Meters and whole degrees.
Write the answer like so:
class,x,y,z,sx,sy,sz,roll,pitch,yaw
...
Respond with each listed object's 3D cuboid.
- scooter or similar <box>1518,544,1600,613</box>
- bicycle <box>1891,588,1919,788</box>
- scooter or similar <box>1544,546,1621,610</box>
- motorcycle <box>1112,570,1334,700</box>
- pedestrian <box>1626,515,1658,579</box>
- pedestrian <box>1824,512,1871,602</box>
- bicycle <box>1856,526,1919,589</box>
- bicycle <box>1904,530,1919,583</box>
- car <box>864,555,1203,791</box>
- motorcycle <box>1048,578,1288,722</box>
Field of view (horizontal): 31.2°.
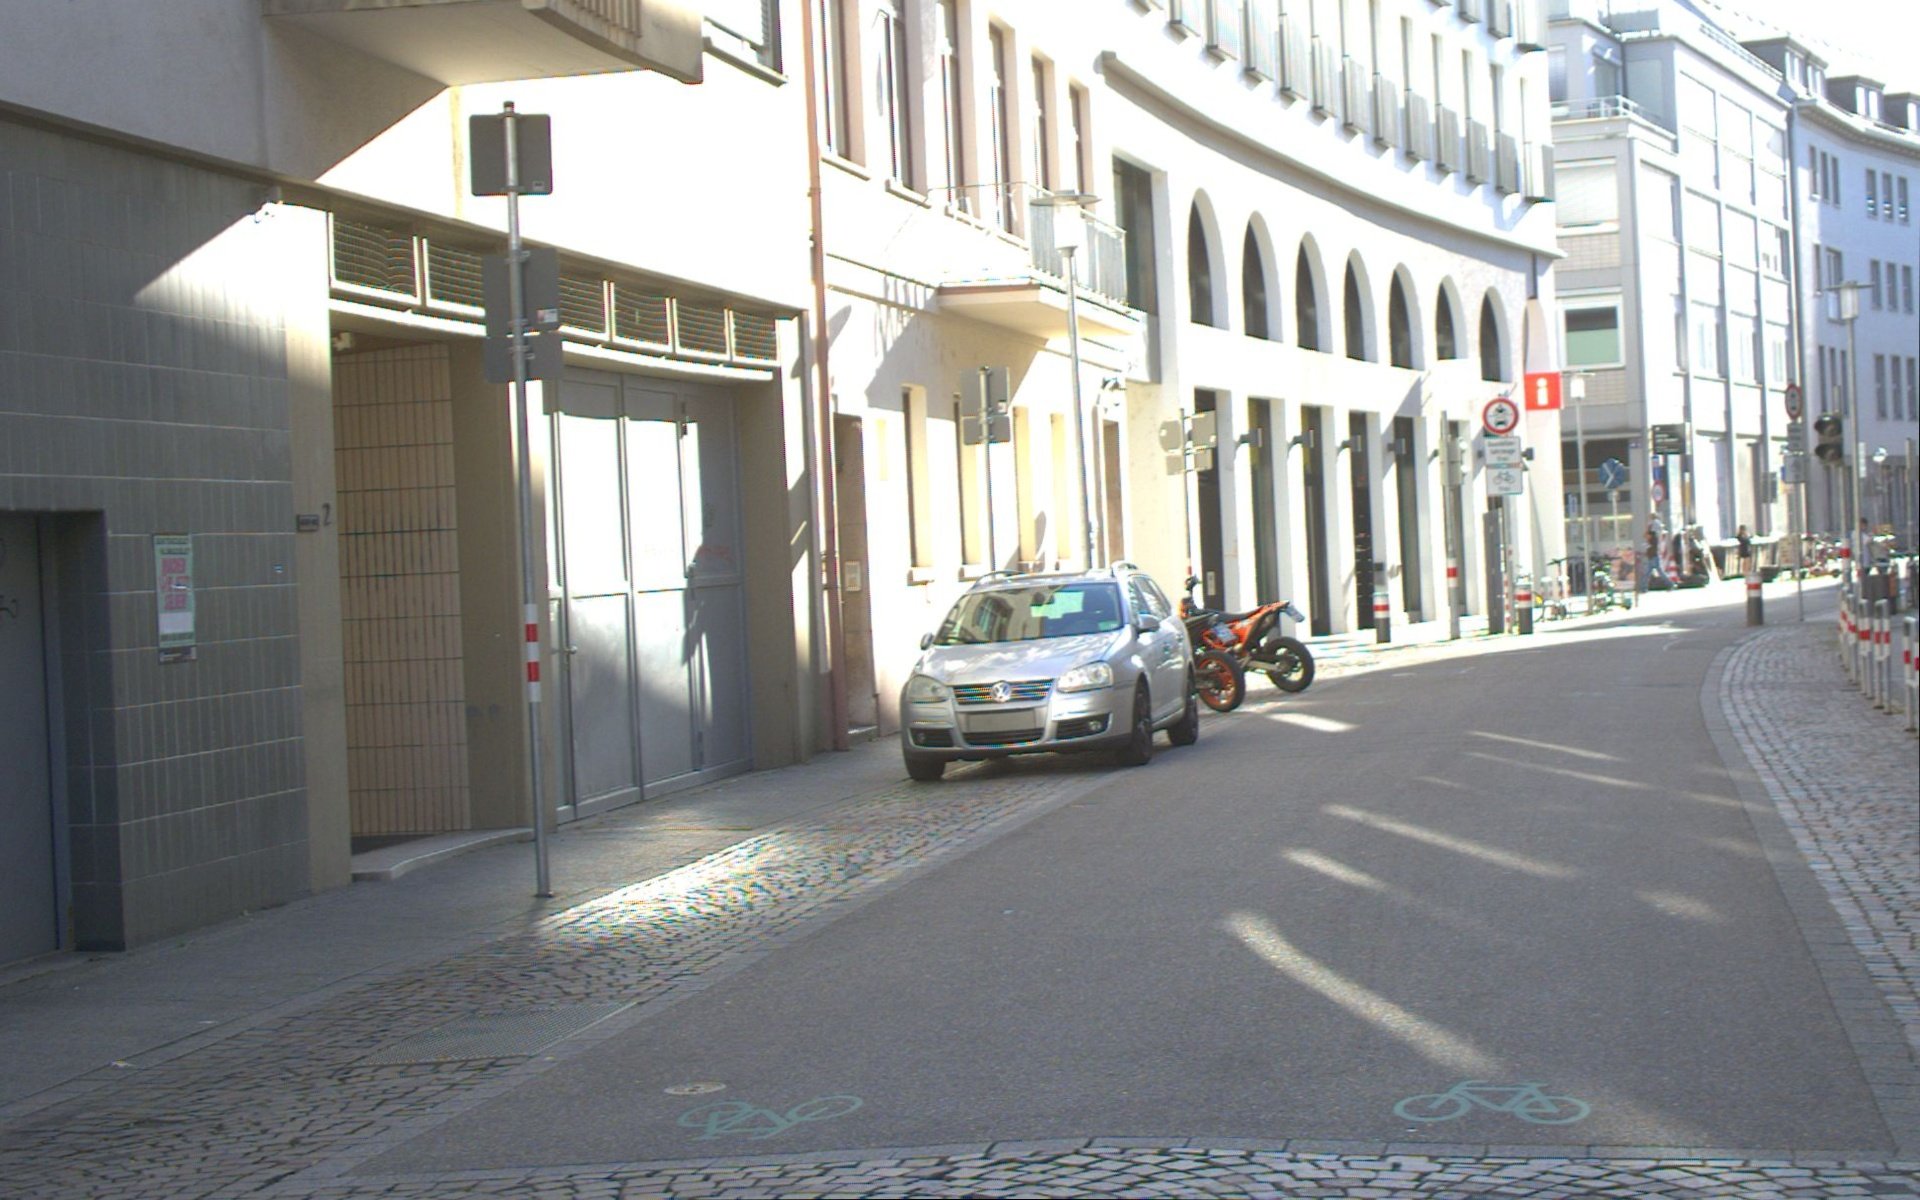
class,x,y,z,sx,sy,sz,roll,pitch,yaw
scooter or similar,11.419,-0.398,65.611,0.531,1.193,1.957,-4,-1,-20
bicycle,5.785,0.493,19.736,0.636,1.112,1.930,-3,1,10
scooter or similar,12.688,-0.435,70.122,0.531,1.193,1.957,-4,-1,-20
motorcycle,2.814,0.384,36.943,2.286,1.241,0.573,-4,0,32
pedestrian,16.796,-1.312,84.669,0.658,1.523,0.482,-4,0,14
pedestrian,14.681,-0.716,56.887,0.658,1.436,0.595,-3,0,14
bicycle,16.849,-0.782,62.159,0.929,1.044,3.364,-3,1,19
bicycle,18.678,-0.871,65.764,0.929,0.957,3.364,-3,1,19
car,0.635,0.490,25.886,1.766,1.465,3.811,-5,0,12
motorcycle,1.986,0.489,33.066,2.209,1.241,0.573,-4,0,32
